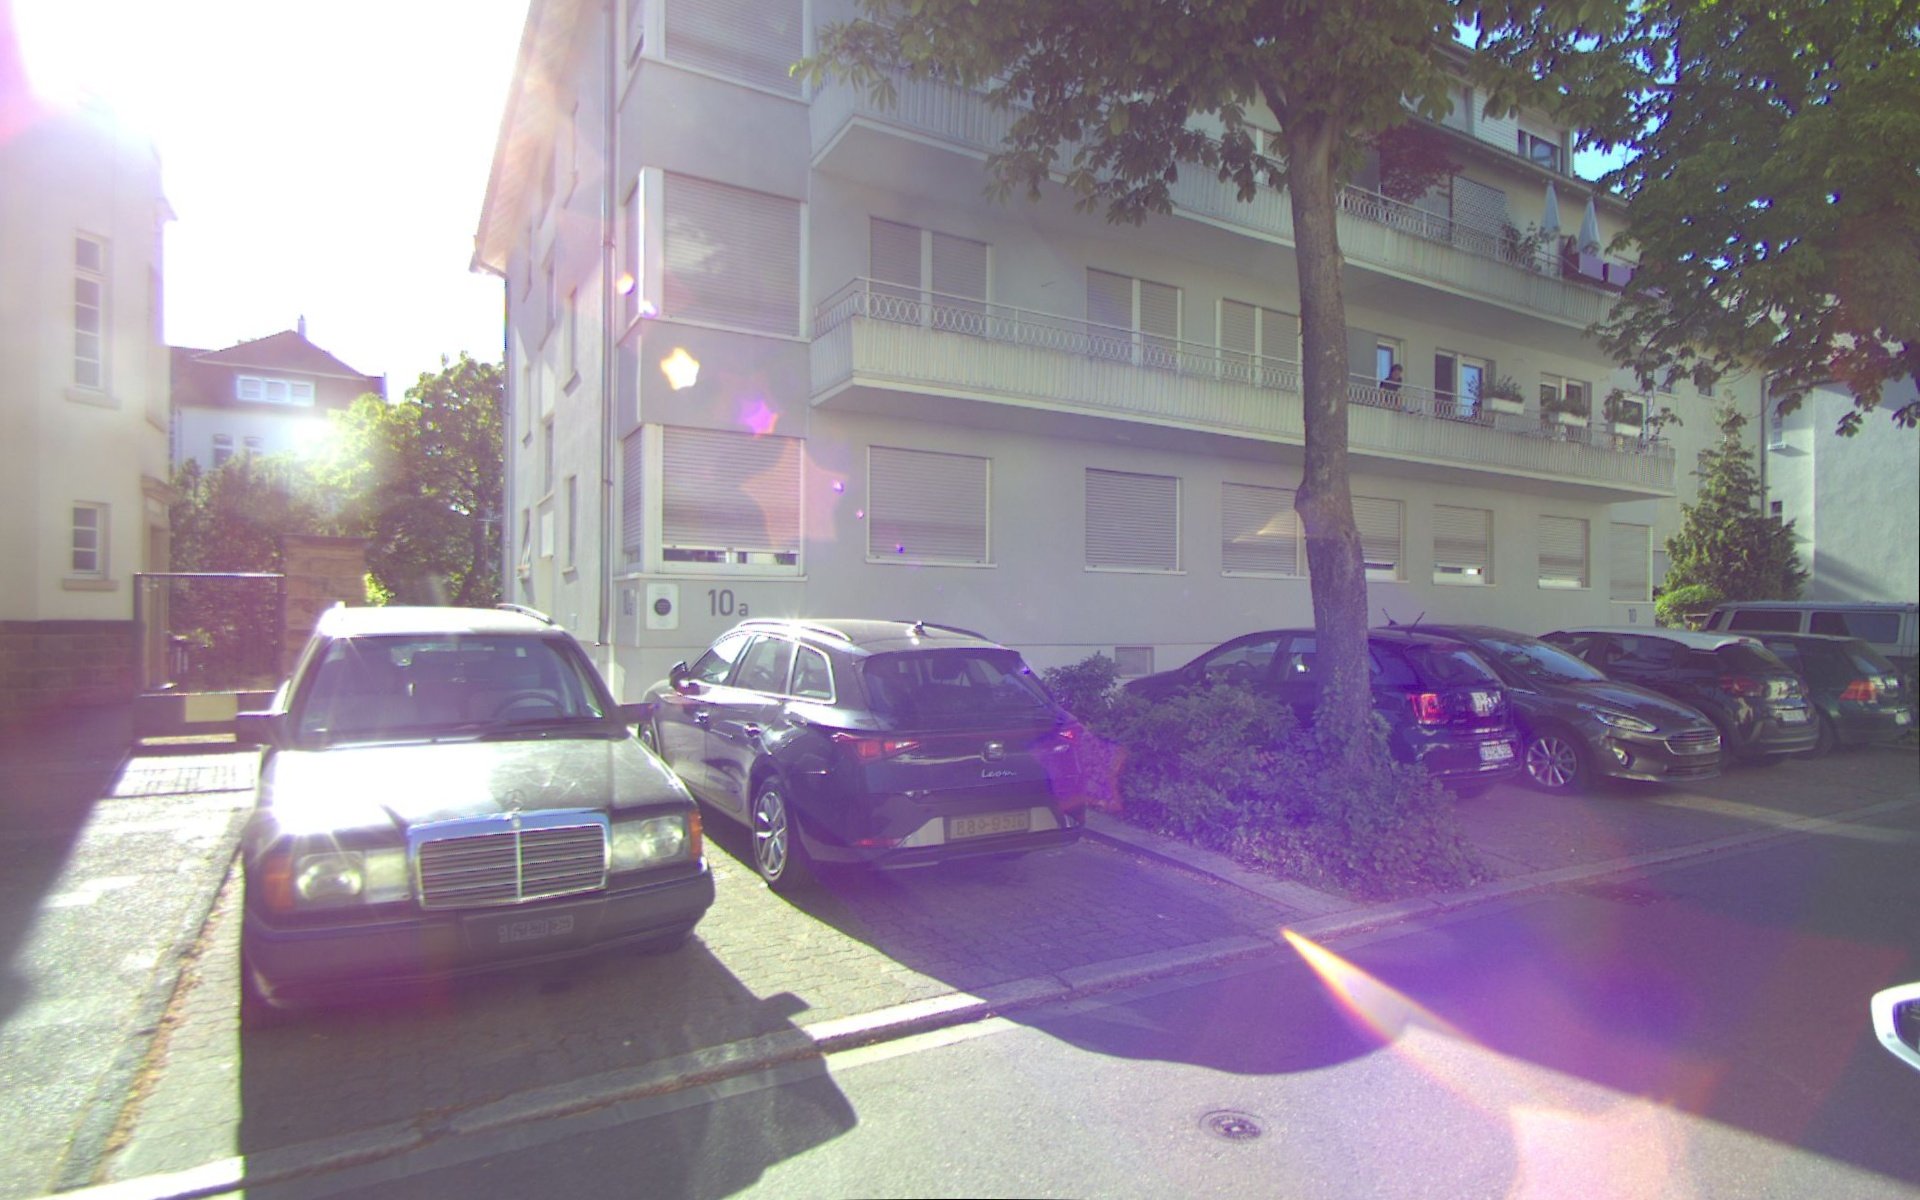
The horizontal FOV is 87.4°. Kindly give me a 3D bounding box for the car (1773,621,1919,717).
[{"bbox_3d":[16.605,1.189,17.123,1.641,1.518,3.930,0,1,-28],"label":"car"}]

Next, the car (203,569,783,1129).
[{"bbox_3d":[-2.686,0.707,5.430,1.813,1.628,4.563,1,2,-32],"label":"car"}]

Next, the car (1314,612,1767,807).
[{"bbox_3d":[5.626,0.938,10.207,1.689,1.482,3.629,2,0,-28],"label":"car"}]

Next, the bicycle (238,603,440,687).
[{"bbox_3d":[-11.533,0.823,18.809,3.153,1.485,0.556,1,-1,-31],"label":"bicycle"}]

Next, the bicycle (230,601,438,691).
[{"bbox_3d":[-10.789,0.784,17.459,2.994,1.476,0.540,1,-1,-31],"label":"bicycle"}]

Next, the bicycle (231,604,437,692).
[{"bbox_3d":[-11.194,0.850,18.113,3.102,1.485,0.543,1,-1,-31],"label":"bicycle"}]

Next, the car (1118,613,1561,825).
[{"bbox_3d":[3.297,0.920,9.274,1.693,1.439,3.455,2,0,-35],"label":"car"}]

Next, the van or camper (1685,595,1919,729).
[{"bbox_3d":[14.309,0.924,15.686,1.941,1.940,4.476,1,-1,-30],"label":"van or camper"}]

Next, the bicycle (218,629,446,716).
[{"bbox_3d":[-9.579,1.086,15.485,2.925,1.254,0.486,1,-1,-31],"label":"bicycle"}]

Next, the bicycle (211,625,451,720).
[{"bbox_3d":[-9.239,1.045,14.923,2.961,1.316,0.462,1,-1,-31],"label":"bicycle"}]

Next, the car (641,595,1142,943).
[{"bbox_3d":[-0.808,0.794,6.873,1.693,1.460,4.165,2,2,-31],"label":"car"}]

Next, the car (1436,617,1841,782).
[{"bbox_3d":[7.661,1.010,11.666,1.776,1.477,3.463,2,0,-29],"label":"car"}]

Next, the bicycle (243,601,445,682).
[{"bbox_3d":[-11.885,0.797,19.524,3.286,1.485,0.534,1,-1,-31],"label":"bicycle"}]

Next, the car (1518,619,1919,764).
[{"bbox_3d":[9.675,1.036,13.056,1.696,1.434,3.900,1,1,-32],"label":"car"}]
